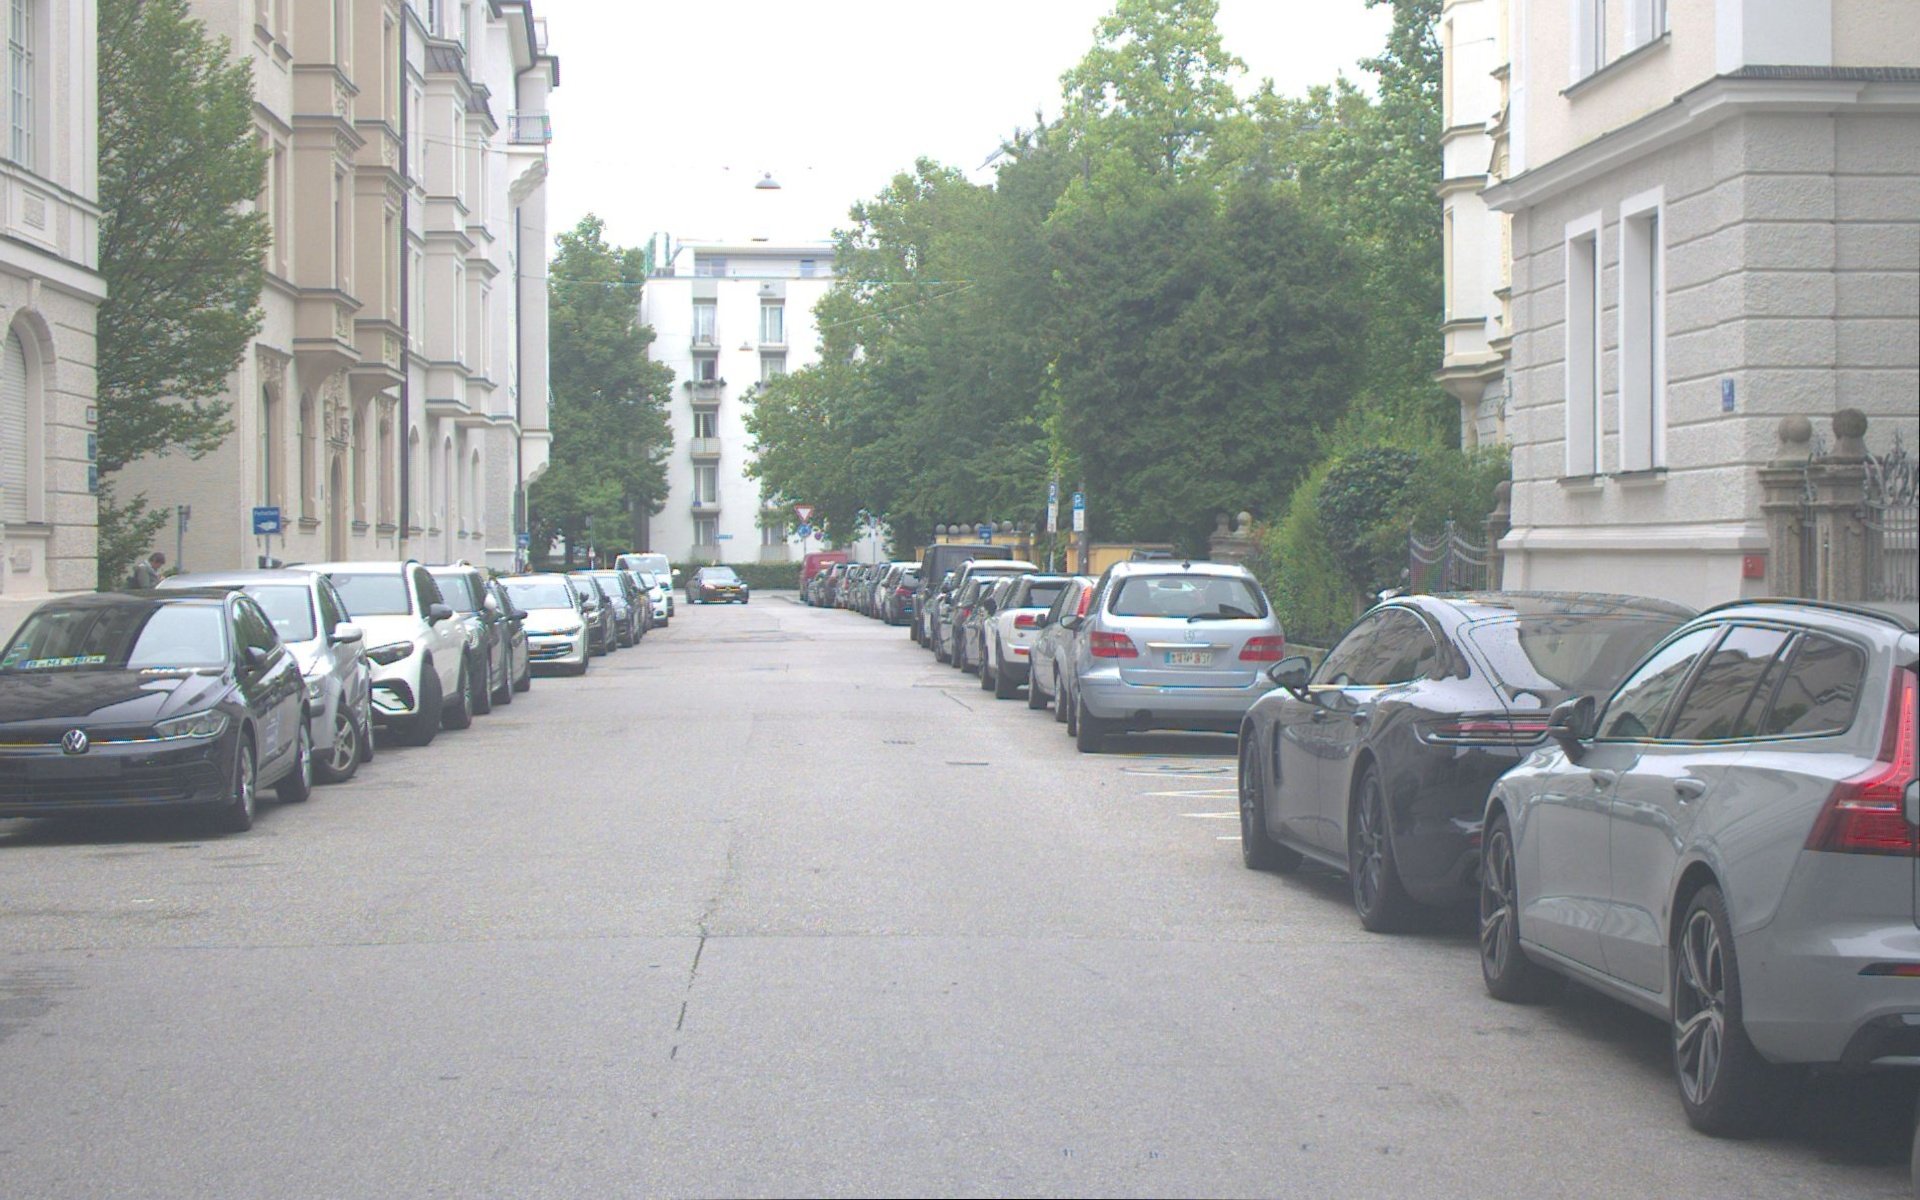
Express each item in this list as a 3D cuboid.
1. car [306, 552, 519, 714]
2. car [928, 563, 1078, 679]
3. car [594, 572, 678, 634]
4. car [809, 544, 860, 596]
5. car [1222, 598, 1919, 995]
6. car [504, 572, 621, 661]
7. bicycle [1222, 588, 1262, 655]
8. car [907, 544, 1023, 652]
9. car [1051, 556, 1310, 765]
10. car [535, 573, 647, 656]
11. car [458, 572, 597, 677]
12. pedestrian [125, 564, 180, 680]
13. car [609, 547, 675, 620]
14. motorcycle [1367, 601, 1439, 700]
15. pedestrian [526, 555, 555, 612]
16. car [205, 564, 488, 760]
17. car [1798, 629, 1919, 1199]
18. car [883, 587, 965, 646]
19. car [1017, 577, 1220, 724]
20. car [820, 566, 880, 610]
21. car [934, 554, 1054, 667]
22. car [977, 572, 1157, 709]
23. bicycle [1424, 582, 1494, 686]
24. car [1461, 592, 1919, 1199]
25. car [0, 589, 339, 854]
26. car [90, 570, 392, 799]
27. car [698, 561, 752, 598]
[{"bbox_3d":[-5.797,0.301,36.826,1.836,1.613,4.245,0,1,-3],"label":"car"},{"bbox_3d":[0.610,0.287,52.944,1.750,1.605,4.425,2,1,-6],"label":"car"},{"bbox_3d":[-8.240,0.058,87.729,1.836,1.433,4.275,-3,1,-2],"label":"car"},{"bbox_3d":[-4.967,-1.209,136.060,1.836,1.920,4.005,3,1,-1],"label":"car"},{"bbox_3d":[2.552,0.750,15.584,1.993,1.452,4.713,0,1,-5],"label":"car"},{"bbox_3d":[-7.077,0.268,61.527,1.833,1.429,4.554,-2,1,-4],"label":"car"},{"bbox_3d":[4.679,0.345,57.068,0.454,1.095,1.314,0,0,-4],"label":"bicycle"},{"bbox_3d":[0.060,-0.082,67.470,1.950,1.947,4.666,1,2,-3],"label":"car"},{"bbox_3d":[1.819,0.454,29.631,1.822,1.564,4.401,3,1,-1],"label":"car"},{"bbox_3d":[-7.171,0.259,67.134,1.836,1.431,4.245,-3,1,-2],"label":"car"},{"bbox_3d":[-6.513,0.335,52.117,1.836,1.429,4.245,-2,1,-4],"label":"car"},{"bbox_3d":[-11.441,0.304,48.749,0.673,1.620,0.631,0,1,-5],"label":"pedestrian"},{"bbox_3d":[-9.800,-0.546,106.181,1.886,2.120,4.707,-3,1,-5],"label":"car"},{"bbox_3d":[5.171,0.580,40.212,0.607,1.108,1.964,0,0,1],"label":"motorcycle"},{"bbox_3d":[-12.490,-0.498,102.382,0.792,1.673,0.700,0,1,-12],"label":"pedestrian"},{"bbox_3d":[-5.489,0.498,31.305,1.915,1.613,4.572,0,1,-2],"label":"car"},{"bbox_3d":[3.042,0.842,5.191,1.836,1.394,4.975,2,1,-6],"label":"car"},{"bbox_3d":[-0.922,0.391,85.701,1.838,1.408,4.343,1,0,-3],"label":"car"},{"bbox_3d":[1.581,0.486,35.421,1.754,1.401,3.452,1,1,-3],"label":"car"},{"bbox_3d":[-3.990,-0.437,124.215,1.838,1.513,3.948,1,0,-6],"label":"car"},{"bbox_3d":[0.536,0.172,57.986,1.722,1.763,4.413,3,0,-2],"label":"car"},{"bbox_3d":[1.215,0.442,40.633,1.784,1.499,4.065,1,1,-3],"label":"car"},{"bbox_3d":[5.536,0.364,38.226,0.434,1.122,1.882,0,1,-2],"label":"bicycle"},{"bbox_3d":[2.810,0.791,10.264,1.760,1.480,4.421,3,1,-2],"label":"car"},{"bbox_3d":[-5.106,0.689,21.559,1.792,1.410,4.279,-2,1,-3],"label":"car"},{"bbox_3d":[-5.390,0.569,26.246,1.782,1.536,4.258,-2,1,-6],"label":"car"},{"bbox_3d":[-9.207,-0.820,134.455,1.874,1.423,4.410,0,1,-7],"label":"car"}]
